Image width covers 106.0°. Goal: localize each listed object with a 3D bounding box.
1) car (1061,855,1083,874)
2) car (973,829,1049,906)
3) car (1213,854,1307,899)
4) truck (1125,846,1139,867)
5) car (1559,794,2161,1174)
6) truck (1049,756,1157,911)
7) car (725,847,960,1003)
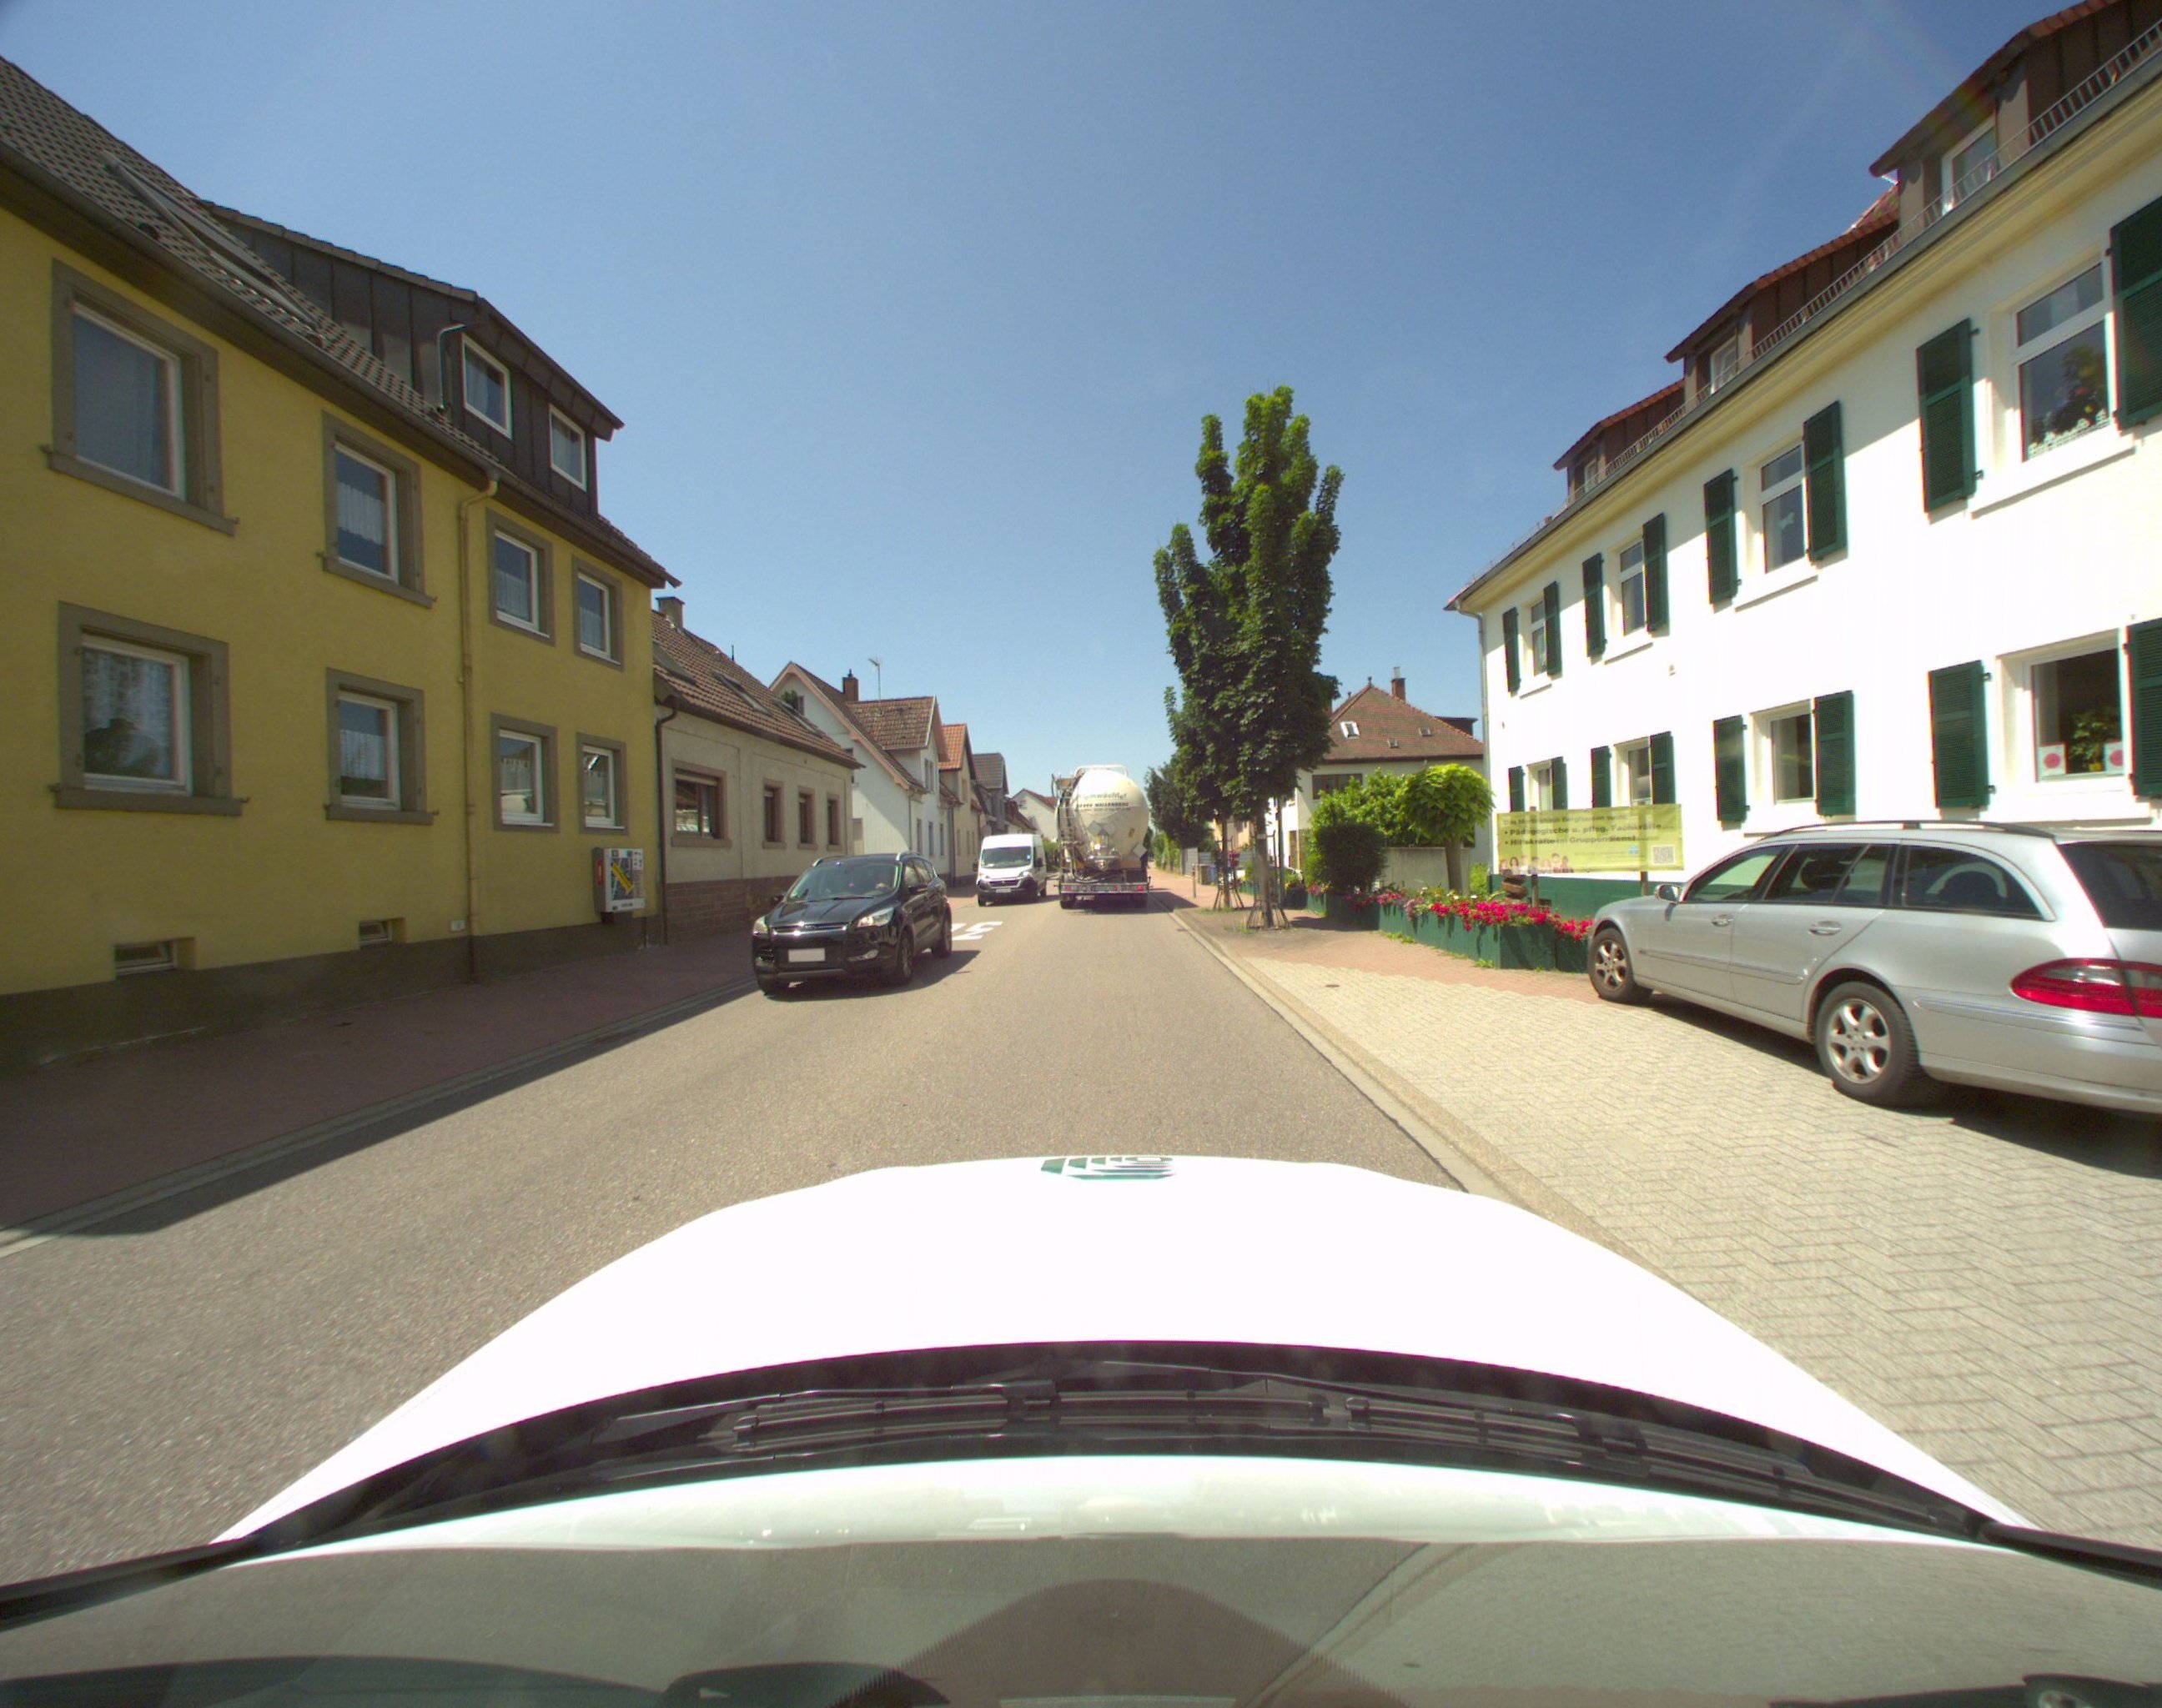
[{"bbox_3d":[-0.806,1.011,78.921,1.844,1.571,4.256,-4,-1,2],"label":"car"},{"bbox_3d":[-2.438,0.446,30.102,2.062,2.455,6.008,-3,0,1],"label":"car"},{"bbox_3d":[8.781,1.099,40.236,4.154,1.587,1.908,8,0,2],"label":"car"},{"bbox_3d":[8.102,0.412,129.121,1.984,3.137,9.460,0,0,5],"label":"truck"},{"bbox_3d":[5.192,0.534,5.468,1.804,1.462,4.898,2,0,10],"label":"car"},{"bbox_3d":[0.649,-0.483,25.003,2.723,3.960,8.143,0,-1,1],"label":"truck"},{"bbox_3d":[-3.027,0.807,11.379,1.833,1.670,4.324,-3,0,1],"label":"car"}]
